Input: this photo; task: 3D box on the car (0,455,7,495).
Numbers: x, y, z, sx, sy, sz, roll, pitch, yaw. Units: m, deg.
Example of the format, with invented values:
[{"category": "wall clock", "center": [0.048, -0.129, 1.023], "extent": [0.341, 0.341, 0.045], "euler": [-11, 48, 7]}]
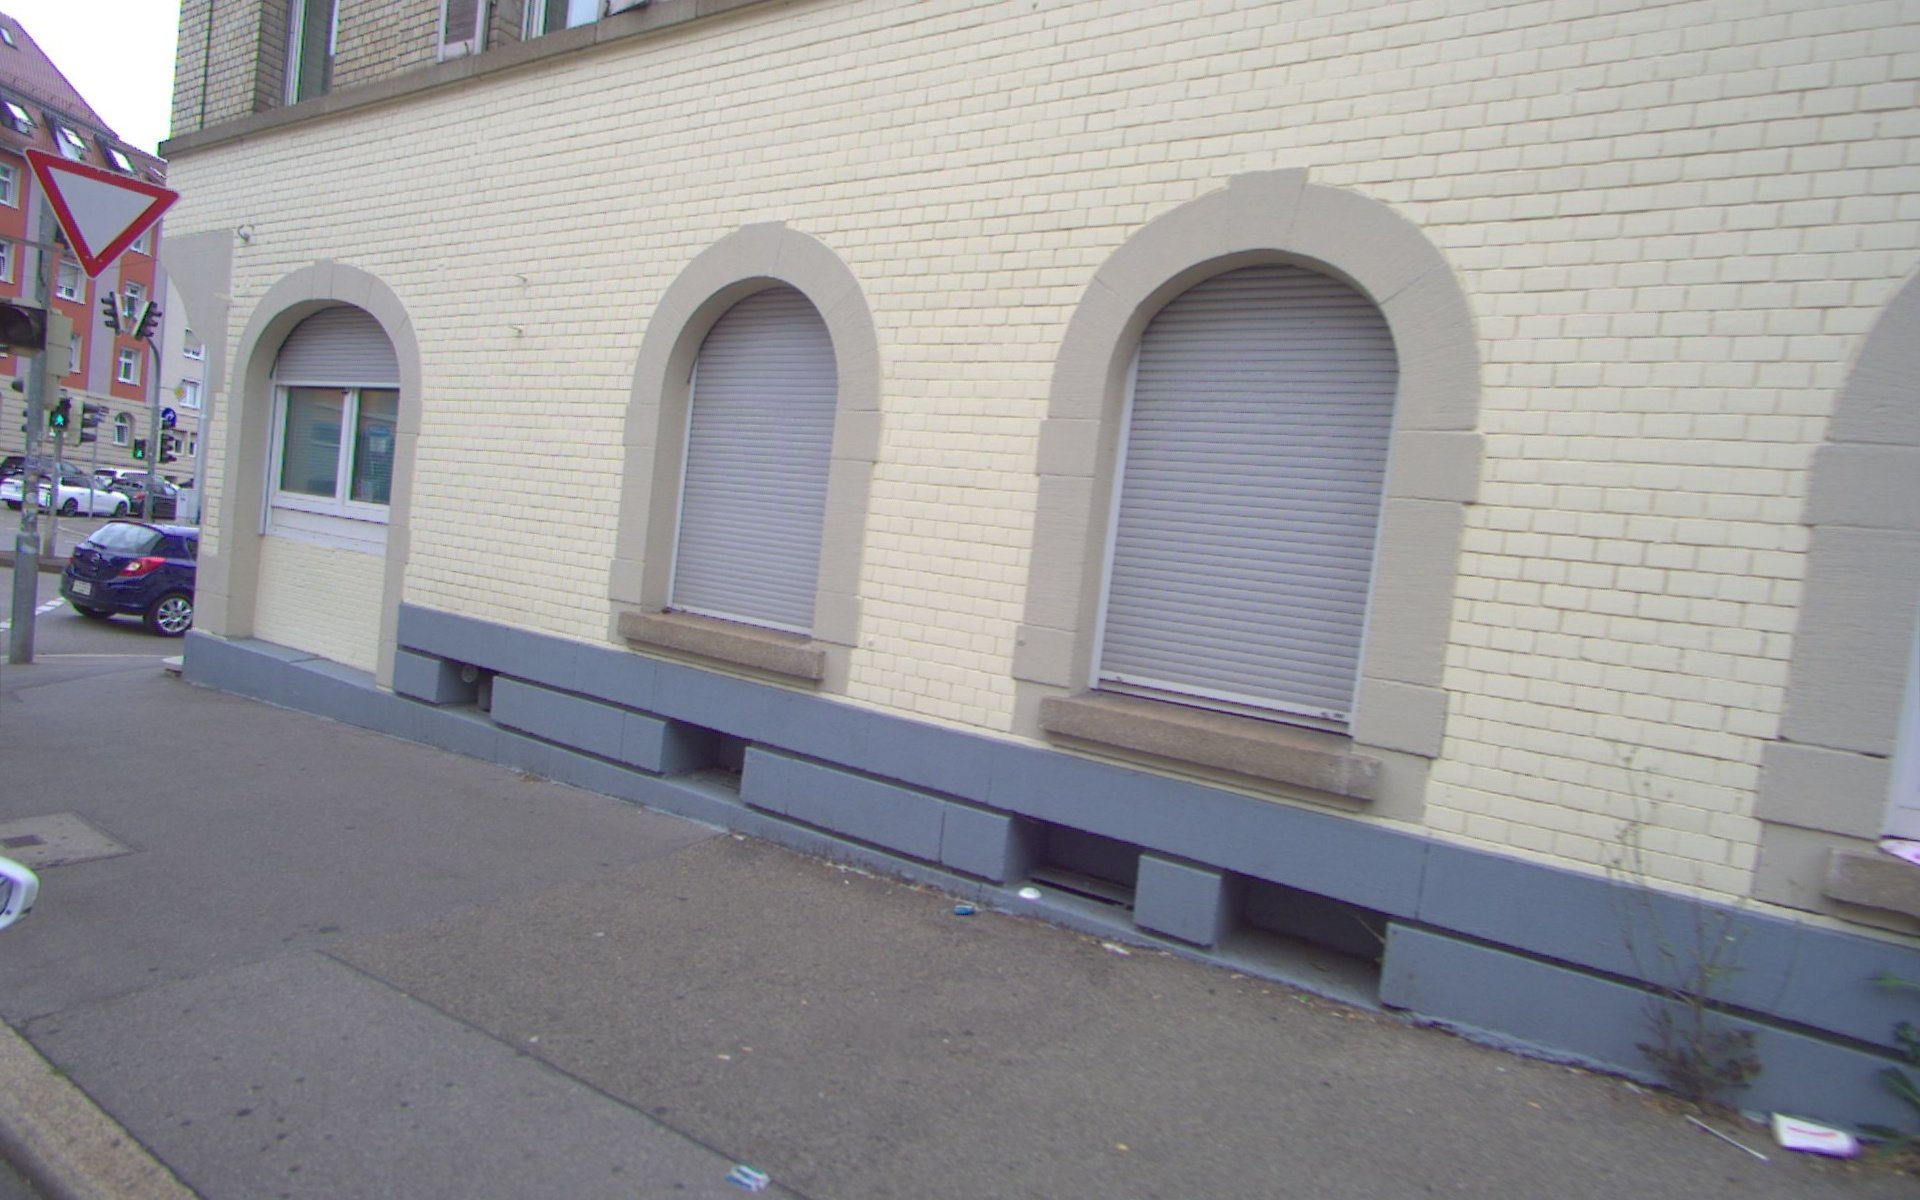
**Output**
[{"category": "car", "center": [-38.706, -4.997, 37.910], "extent": [1.887, 1.554, 4.130], "euler": [9, 2, -9]}]

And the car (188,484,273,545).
[{"category": "car", "center": [-25.145, -3.010, 34.820], "extent": [1.812, 1.597, 4.221], "euler": [9, 2, -31]}]

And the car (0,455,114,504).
[{"category": "car", "center": [-39.315, -5.185, 43.670], "extent": [1.886, 1.554, 4.131], "euler": [9, 2, -8]}]

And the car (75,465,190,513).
[{"category": "car", "center": [-39.986, -5.320, 48.743], "extent": [1.883, 1.654, 4.138], "euler": [9, 2, 2]}]

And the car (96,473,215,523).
[{"category": "car", "center": [-32.347, -4.054, 40.611], "extent": [1.888, 1.554, 4.128], "euler": [9, 2, -11]}]

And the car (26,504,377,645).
[{"category": "car", "center": [-10.885, -0.263, 14.816], "extent": [1.727, 1.463, 3.757], "euler": [9, -2, 13]}]

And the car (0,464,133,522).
[{"category": "car", "center": [-31.507, -3.710, 35.358], "extent": [1.888, 1.554, 4.127], "euler": [9, 2, -12]}]
